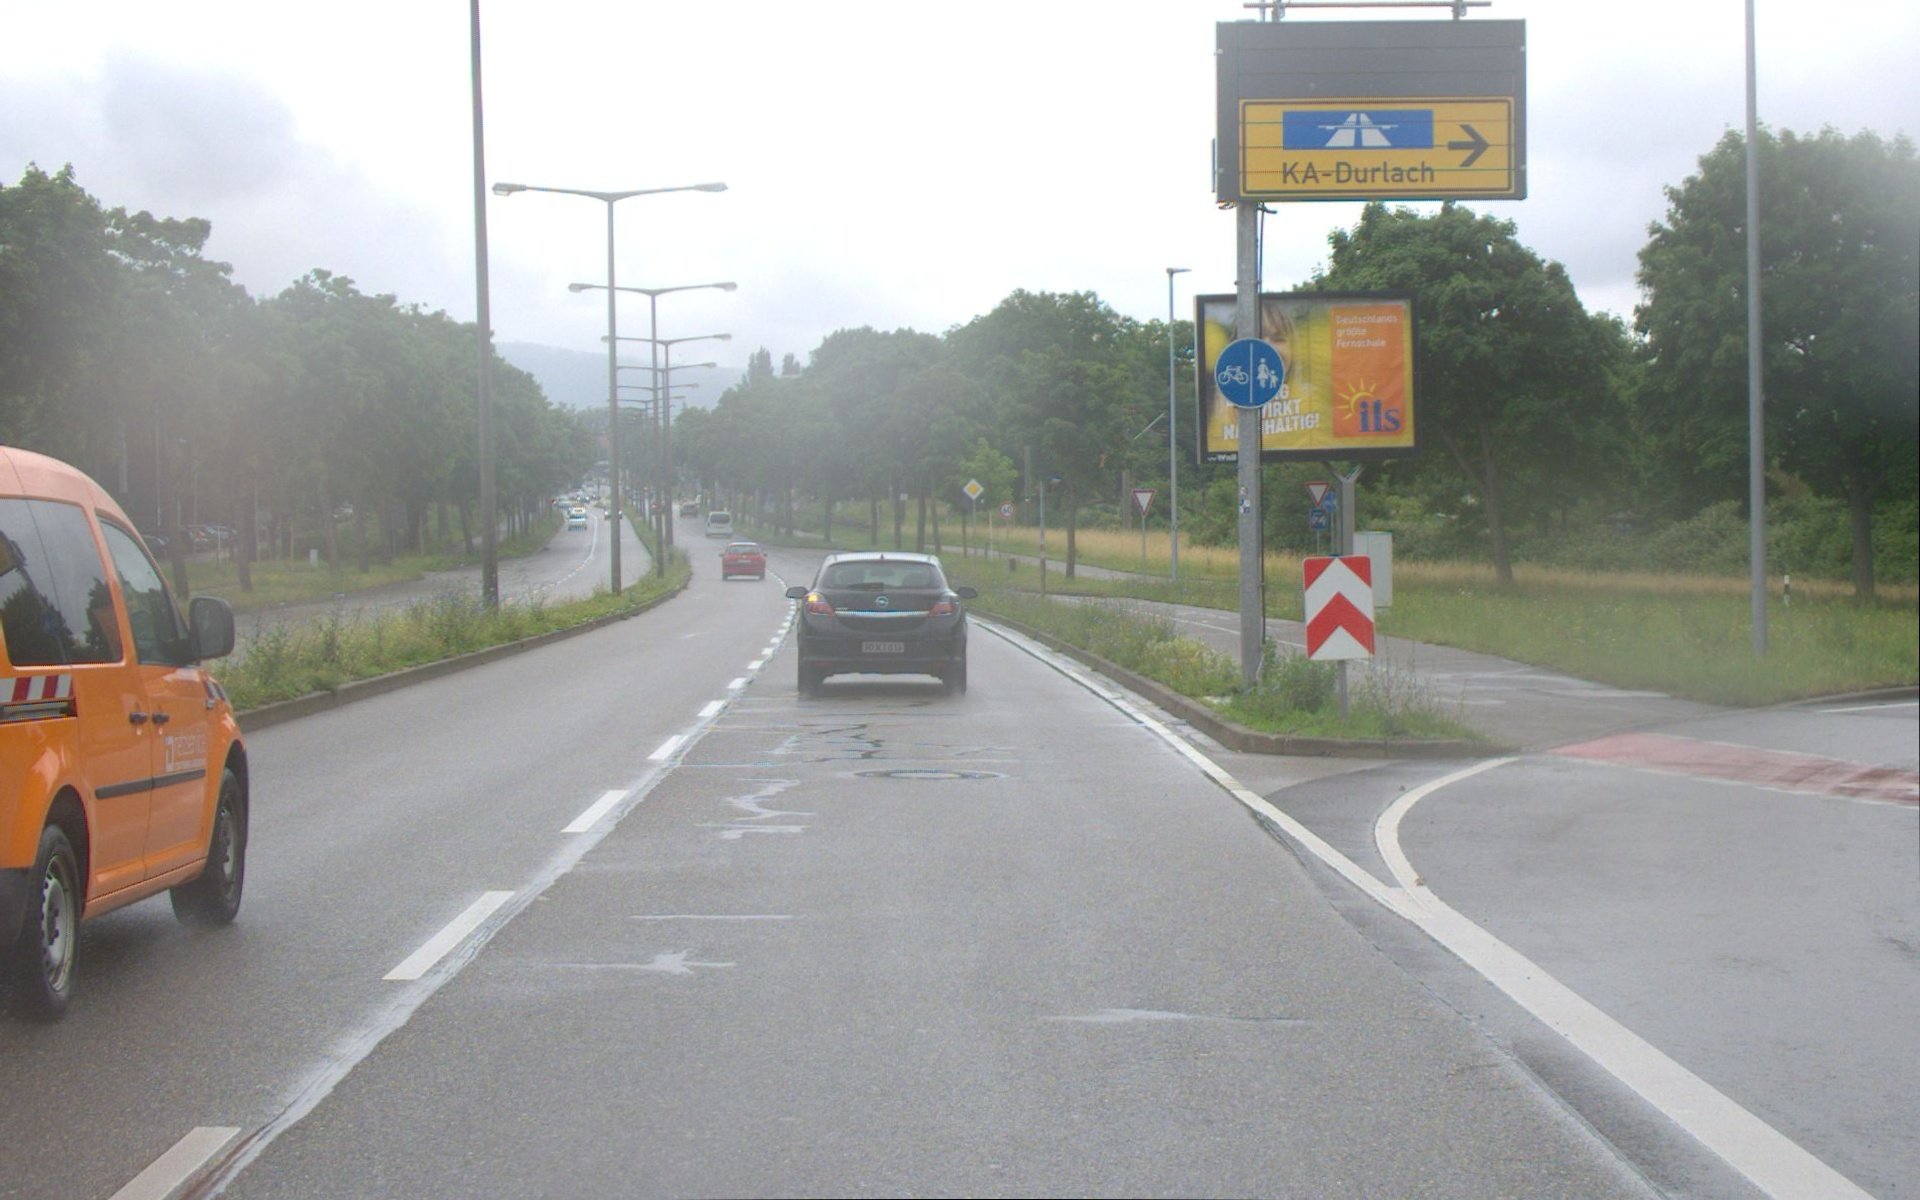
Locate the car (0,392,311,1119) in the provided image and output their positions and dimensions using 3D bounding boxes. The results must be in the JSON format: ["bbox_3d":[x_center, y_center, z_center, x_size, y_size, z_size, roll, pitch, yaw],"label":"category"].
[{"bbox_3d":[-3.543,0.390,11.917,1.734,2.012,4.849,0,1,-1],"label":"car"}]

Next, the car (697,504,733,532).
[{"bbox_3d":[-18.318,-6.103,257.012,2.515,2.045,5.294,-1,1,-5],"label":"car"}]

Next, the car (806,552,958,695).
[{"bbox_3d":[-0.818,0.199,35.182,1.463,1.324,3.758,0,2,-2],"label":"car"}]

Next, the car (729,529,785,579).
[{"bbox_3d":[-7.775,-1.754,131.873,1.993,1.873,4.000,0,1,-2],"label":"car"}]
